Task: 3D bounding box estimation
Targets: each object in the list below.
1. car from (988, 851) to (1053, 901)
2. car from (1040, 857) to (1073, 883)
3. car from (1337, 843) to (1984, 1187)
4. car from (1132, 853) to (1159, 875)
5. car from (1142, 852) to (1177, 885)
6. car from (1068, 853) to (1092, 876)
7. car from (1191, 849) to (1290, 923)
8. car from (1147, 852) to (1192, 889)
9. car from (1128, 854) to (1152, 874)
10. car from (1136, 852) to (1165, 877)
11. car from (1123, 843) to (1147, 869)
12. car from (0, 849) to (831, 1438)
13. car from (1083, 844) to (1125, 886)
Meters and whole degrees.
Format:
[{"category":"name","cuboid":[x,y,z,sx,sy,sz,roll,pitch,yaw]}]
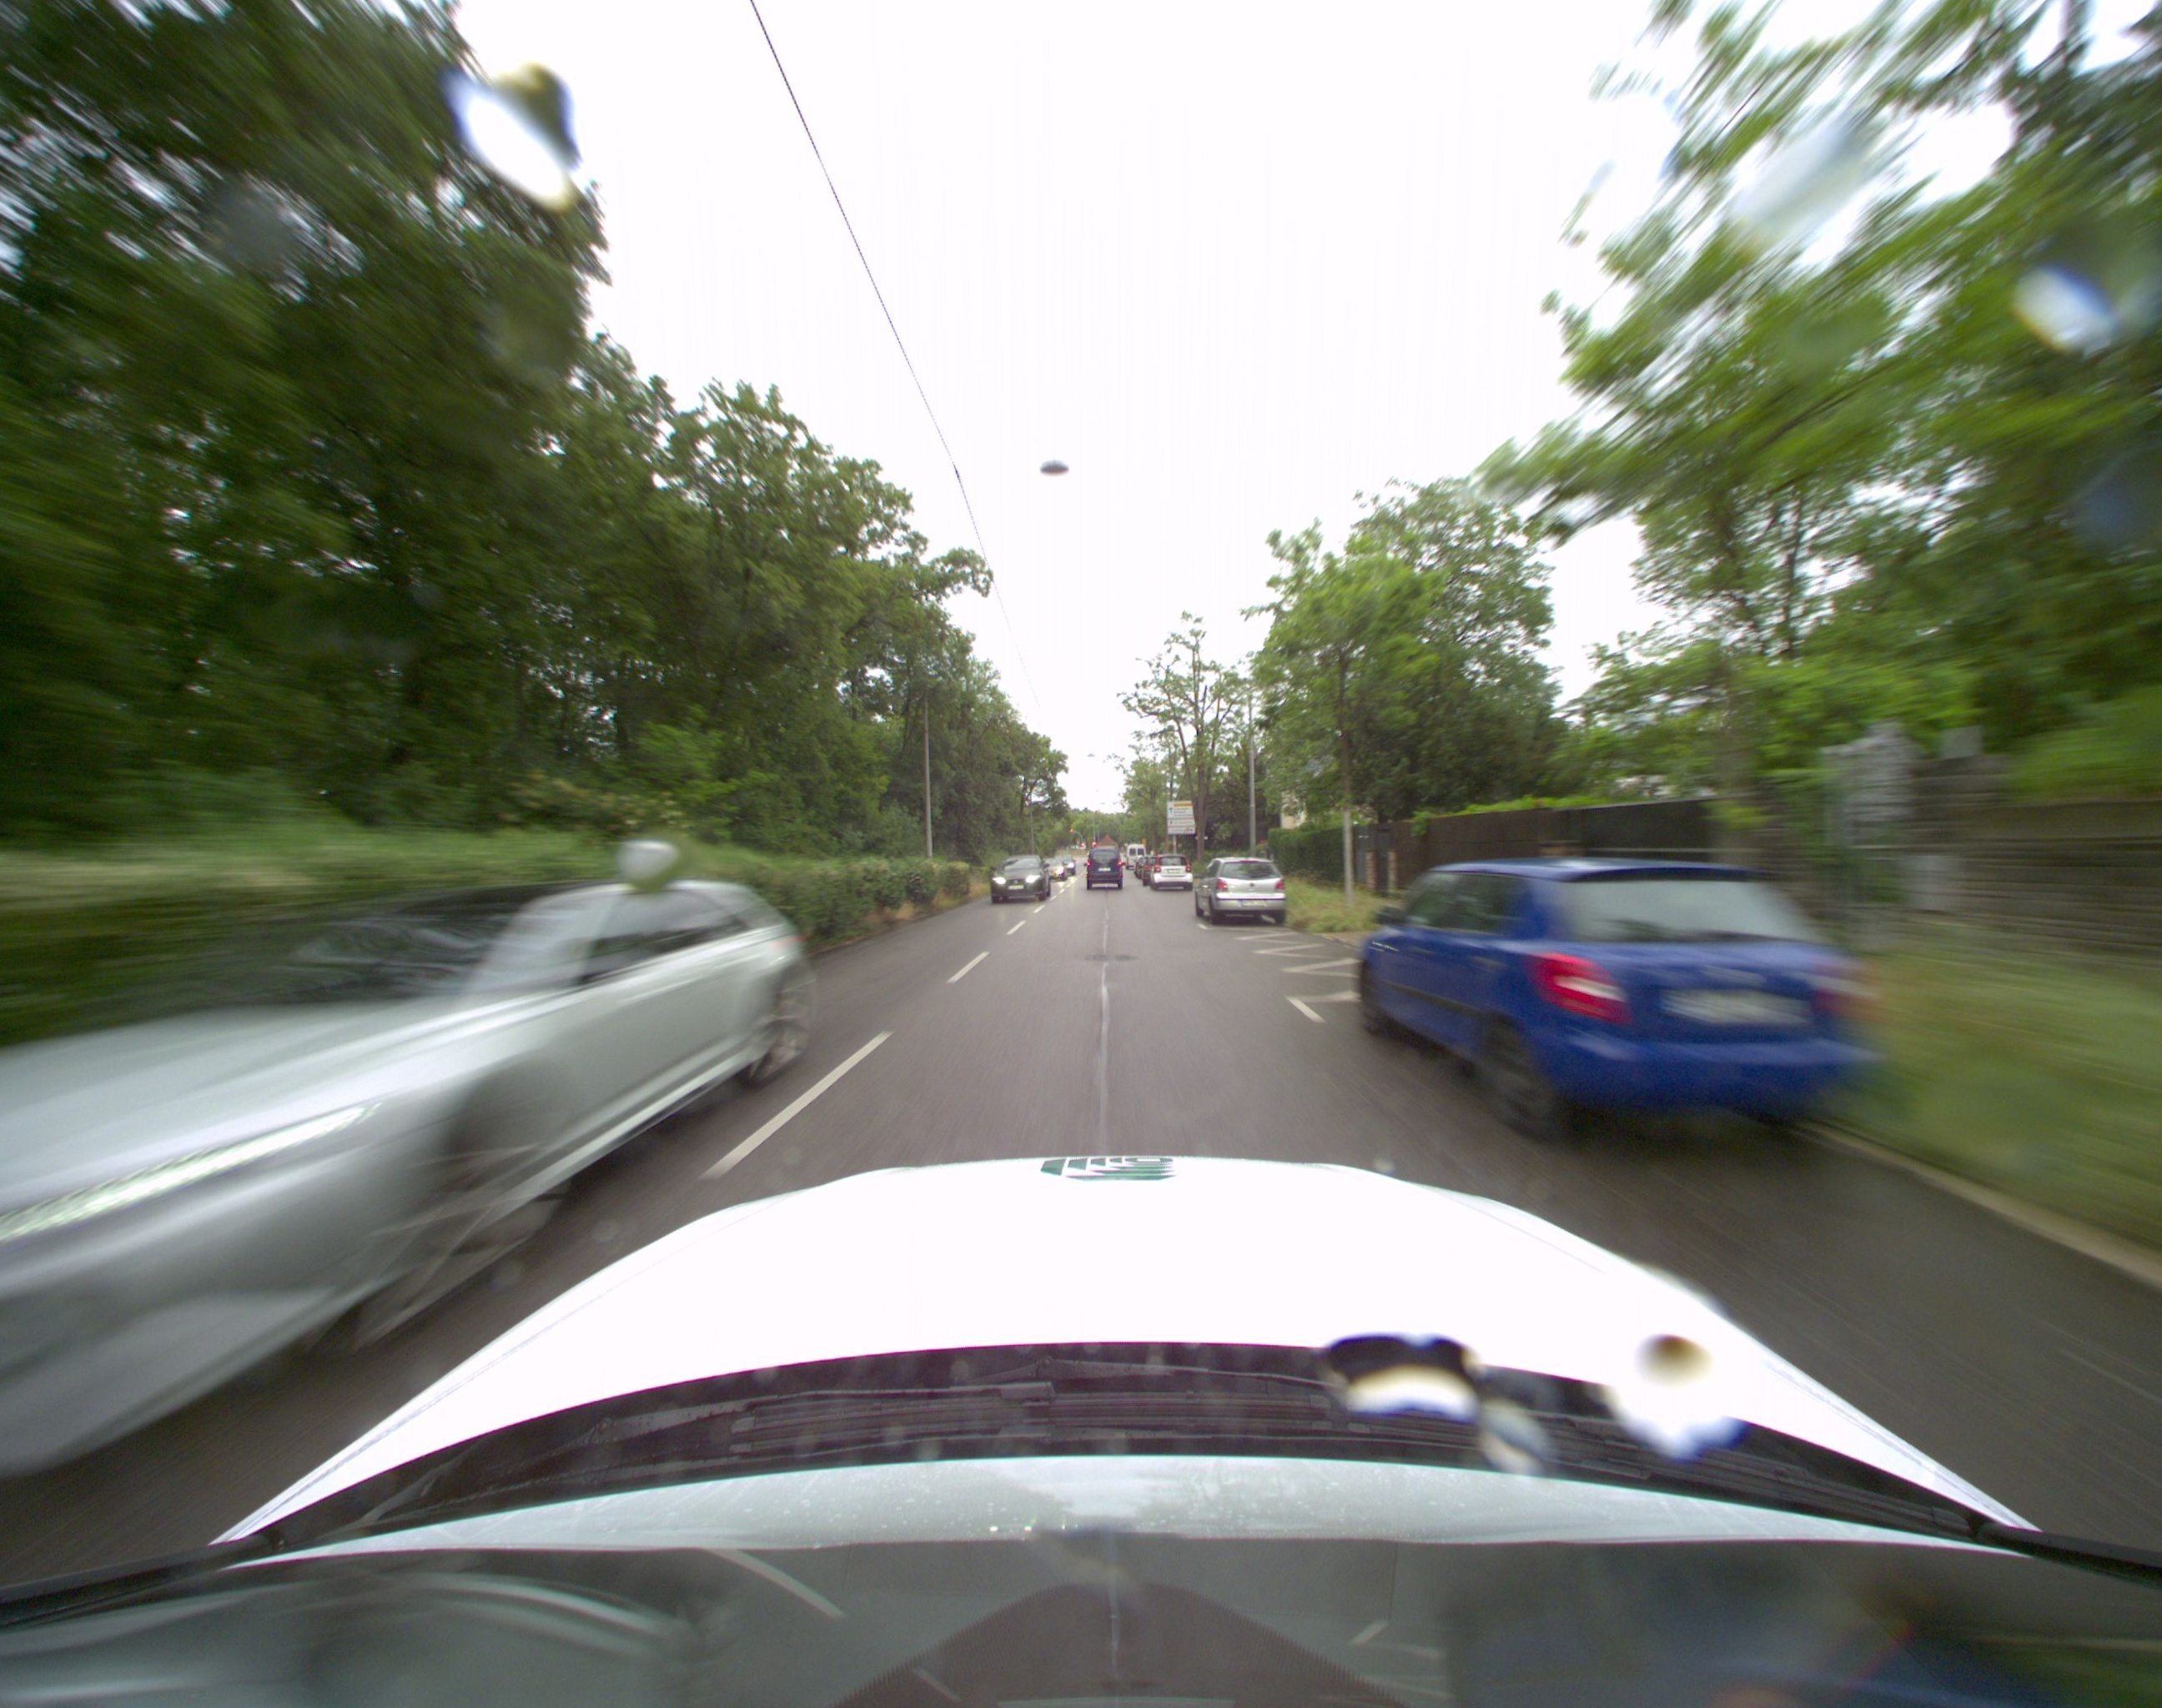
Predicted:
[{"category":"car","cuboid":[-2.095,0.725,29.488,1.797,1.547,4.434,-3,1,2]},{"category":"car","cuboid":[-1.531,0.995,52.286,1.722,1.442,5.115,-3,1,2]},{"category":"car","cuboid":[3.180,0.678,5.615,1.714,1.505,4.053,0,1,2]},{"category":"car","cuboid":[4.536,0.693,57.654,1.692,1.524,3.868,0,0,1]},{"category":"car","cuboid":[3.922,0.693,41.290,1.690,1.524,3.872,0,1,4]},{"category":"car","cuboid":[-0.062,0.833,65.378,1.717,1.615,4.157,-3,1,2]},{"category":"car","cuboid":[3.612,0.664,19.031,1.613,1.508,3.835,0,1,0]},{"category":"car","cuboid":[3.793,0.664,35.211,1.627,1.509,2.958,0,1,0]},{"category":"car","cuboid":[4.675,0.760,64.447,1.692,1.524,3.868,0,0,1]},{"category":"car","cuboid":[4.401,0.656,52.104,1.691,1.524,4.213,0,0,2]},{"category":"car","cuboid":[5.428,0.214,82.562,2.197,2.449,4.731,-1,0,2]},{"category":"car","cuboid":[-3.080,0.787,4.364,1.849,1.468,4.449,-4,1,2]},{"category":"car","cuboid":[1.004,0.466,37.179,1.762,1.830,3.540,0,1,-1]}]
